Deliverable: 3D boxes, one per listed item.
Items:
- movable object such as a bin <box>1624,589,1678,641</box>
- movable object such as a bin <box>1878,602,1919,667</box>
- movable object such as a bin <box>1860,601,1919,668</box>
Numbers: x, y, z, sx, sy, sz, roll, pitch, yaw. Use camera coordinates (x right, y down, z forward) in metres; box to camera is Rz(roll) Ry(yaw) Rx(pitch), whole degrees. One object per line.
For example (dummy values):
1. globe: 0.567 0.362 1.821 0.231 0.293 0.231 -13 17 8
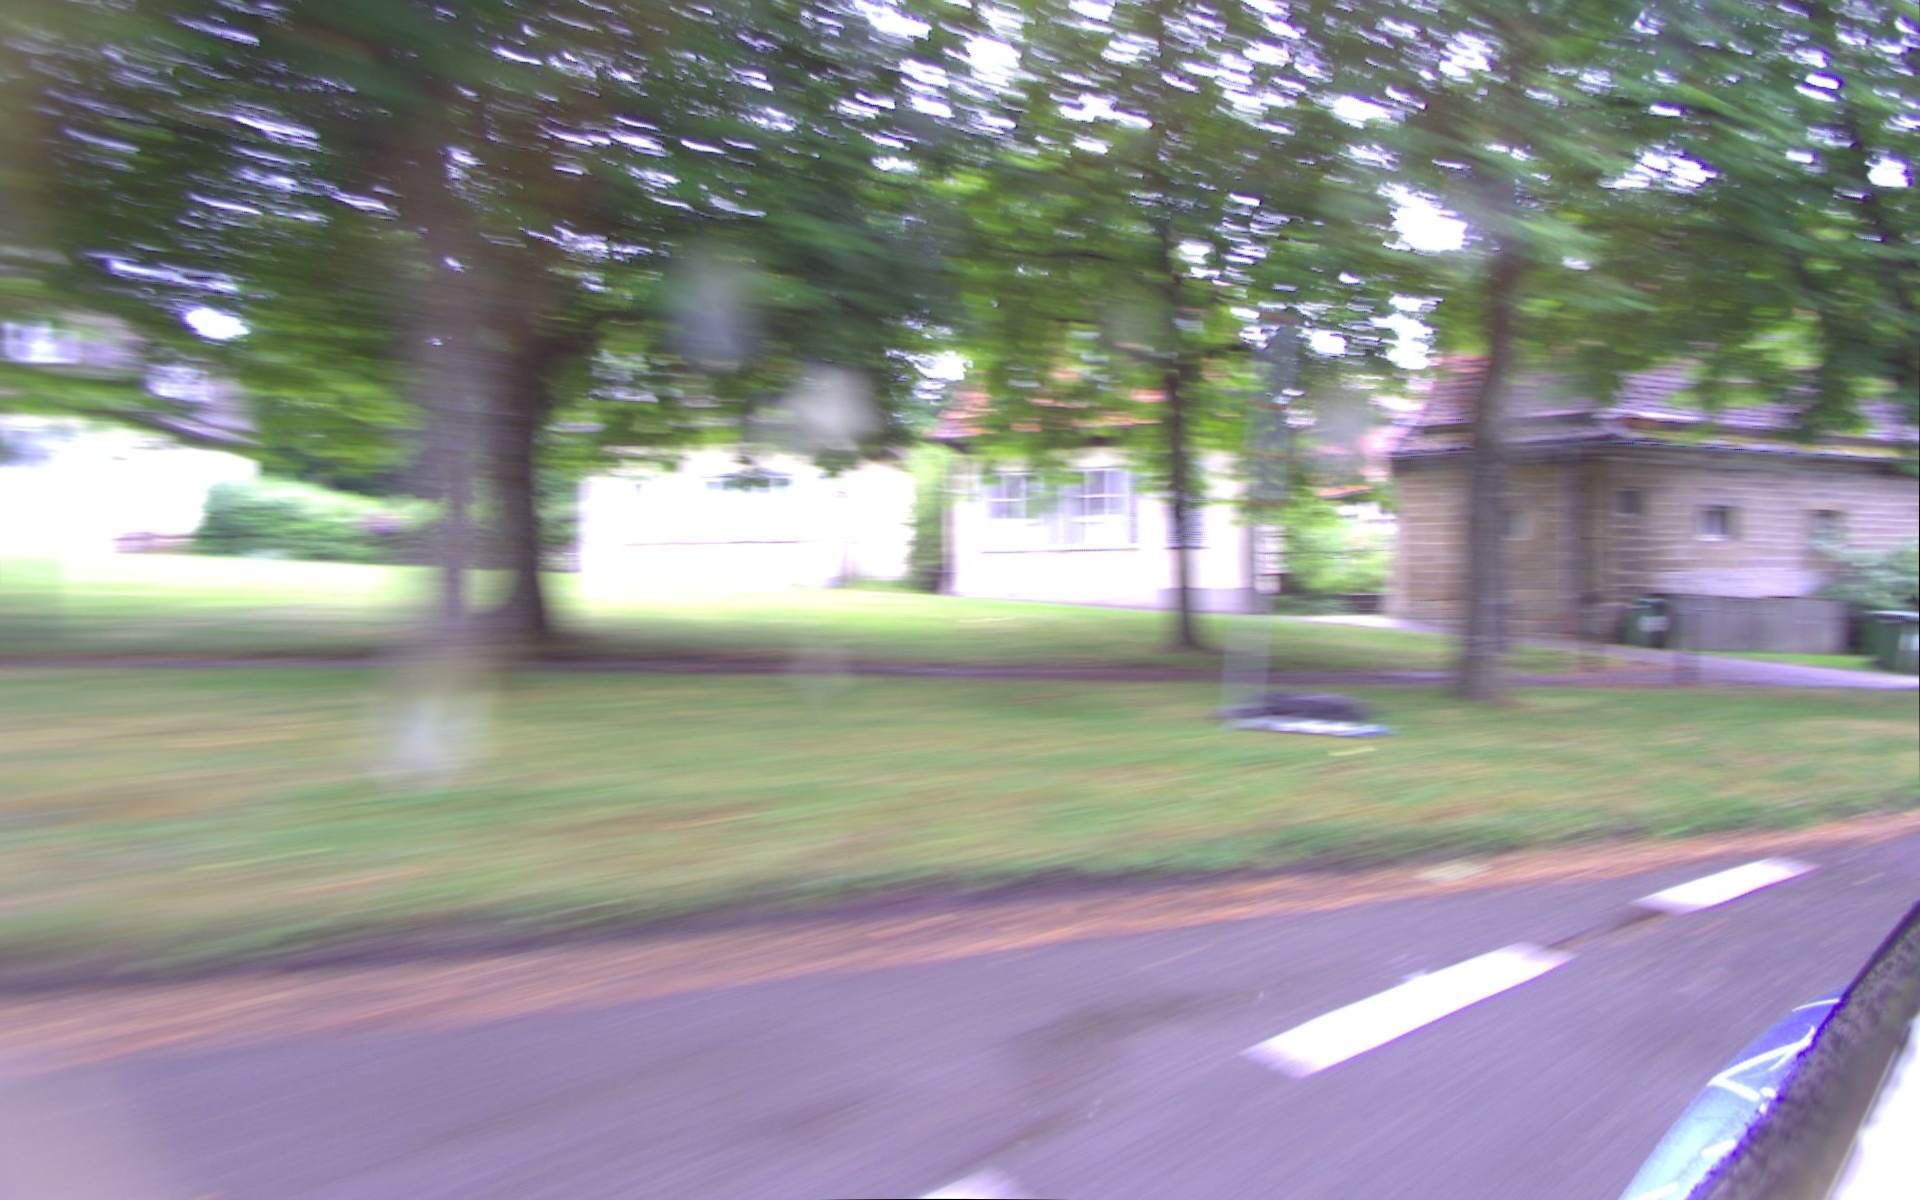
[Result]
1. movable object such as a bin: 13.050 0.281 19.117 0.522 0.917 0.554 1 6 -18
2. movable object such as a bin: 16.818 0.606 17.808 0.563 1.051 0.700 1 6 -18
3. movable object such as a bin: 16.253 0.595 17.496 0.646 1.051 0.700 1 6 -18
